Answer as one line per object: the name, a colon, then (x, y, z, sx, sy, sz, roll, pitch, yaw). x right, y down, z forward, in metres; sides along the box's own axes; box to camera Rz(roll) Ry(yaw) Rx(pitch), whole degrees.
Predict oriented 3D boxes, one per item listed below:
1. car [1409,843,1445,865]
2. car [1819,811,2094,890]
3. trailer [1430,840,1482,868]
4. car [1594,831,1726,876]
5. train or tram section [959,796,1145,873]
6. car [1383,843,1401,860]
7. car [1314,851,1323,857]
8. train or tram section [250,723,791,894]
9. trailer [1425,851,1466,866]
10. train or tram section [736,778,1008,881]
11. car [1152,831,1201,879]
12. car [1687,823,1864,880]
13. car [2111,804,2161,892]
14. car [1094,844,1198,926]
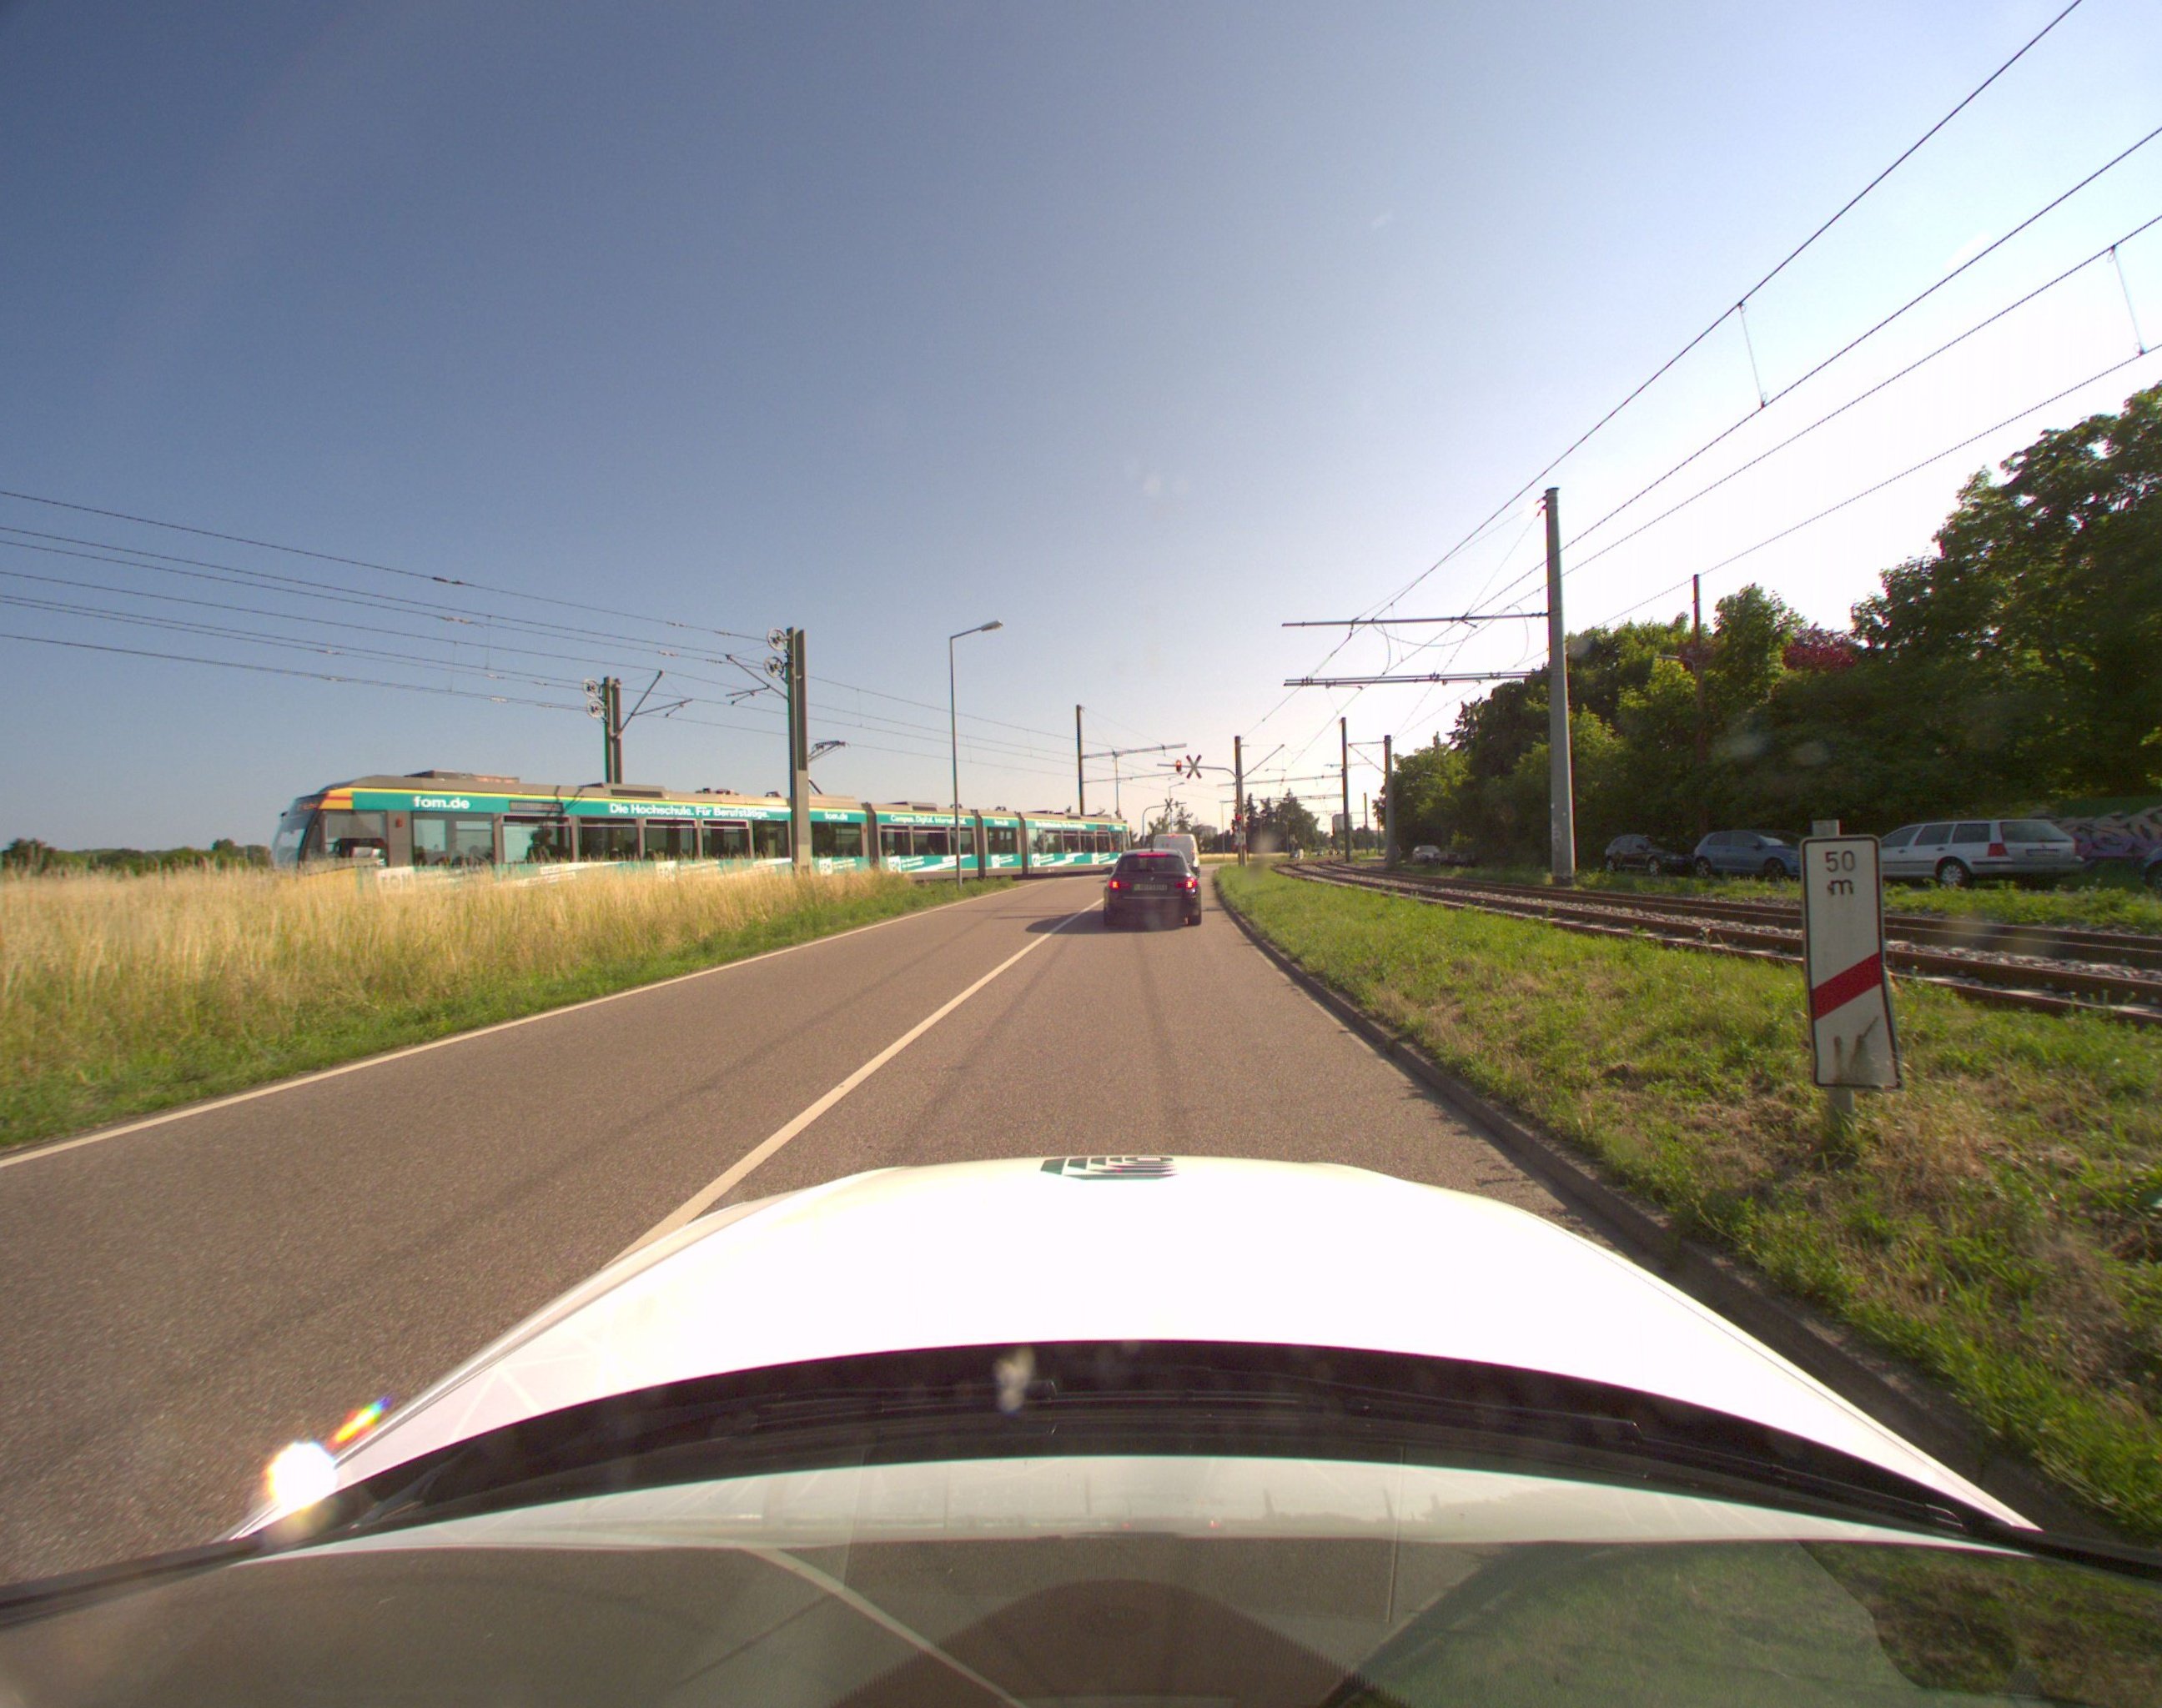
car: (24.366, 0.004, 57.478, 1.686, 1.456, 4.901, 1, 1, 16)
car: (18.988, -0.084, 18.017, 1.700, 1.465, 4.399, -2, 0, 7)
trailer: (22.431, -0.024, 48.852, 2.013, 1.596, 4.274, 1, 0, 13)
car: (19.625, -0.012, 27.871, 1.615, 1.410, 4.527, 0, 0, 5)
train or tram section: (-0.971, -0.740, 44.649, 2.879, 3.569, 14.348, -1, -2, 31)
car: (39.790, -0.315, 104.125, 1.976, 2.004, 5.094, 1, 0, 22)
car: (59.322, 0.021, 203.193, 1.678, 1.439, 4.307, -1, 0, 22)
train or tram section: (-14.031, -0.934, 22.567, 2.922, 3.484, 12.241, -1, 0, 31)
trailer: (23.567, 0.270, 52.756, 1.719, 0.939, 3.742, 1, 0, 13)
train or tram section: (-7.733, -0.770, 33.154, 2.889, 3.454, 12.241, -1, -1, 31)
car: (4.355, 0.046, 36.494, 1.846, 1.988, 5.122, -1, 0, 10)
car: (19.174, -0.059, 22.752, 1.479, 1.401, 4.152, -2, 0, 2)
car: (18.366, -0.086, 12.050, 1.668, 1.430, 3.921, 0, 0, 9)
car: (1.412, 0.597, 16.945, 1.860, 1.452, 4.751, 0, -1, 6)
